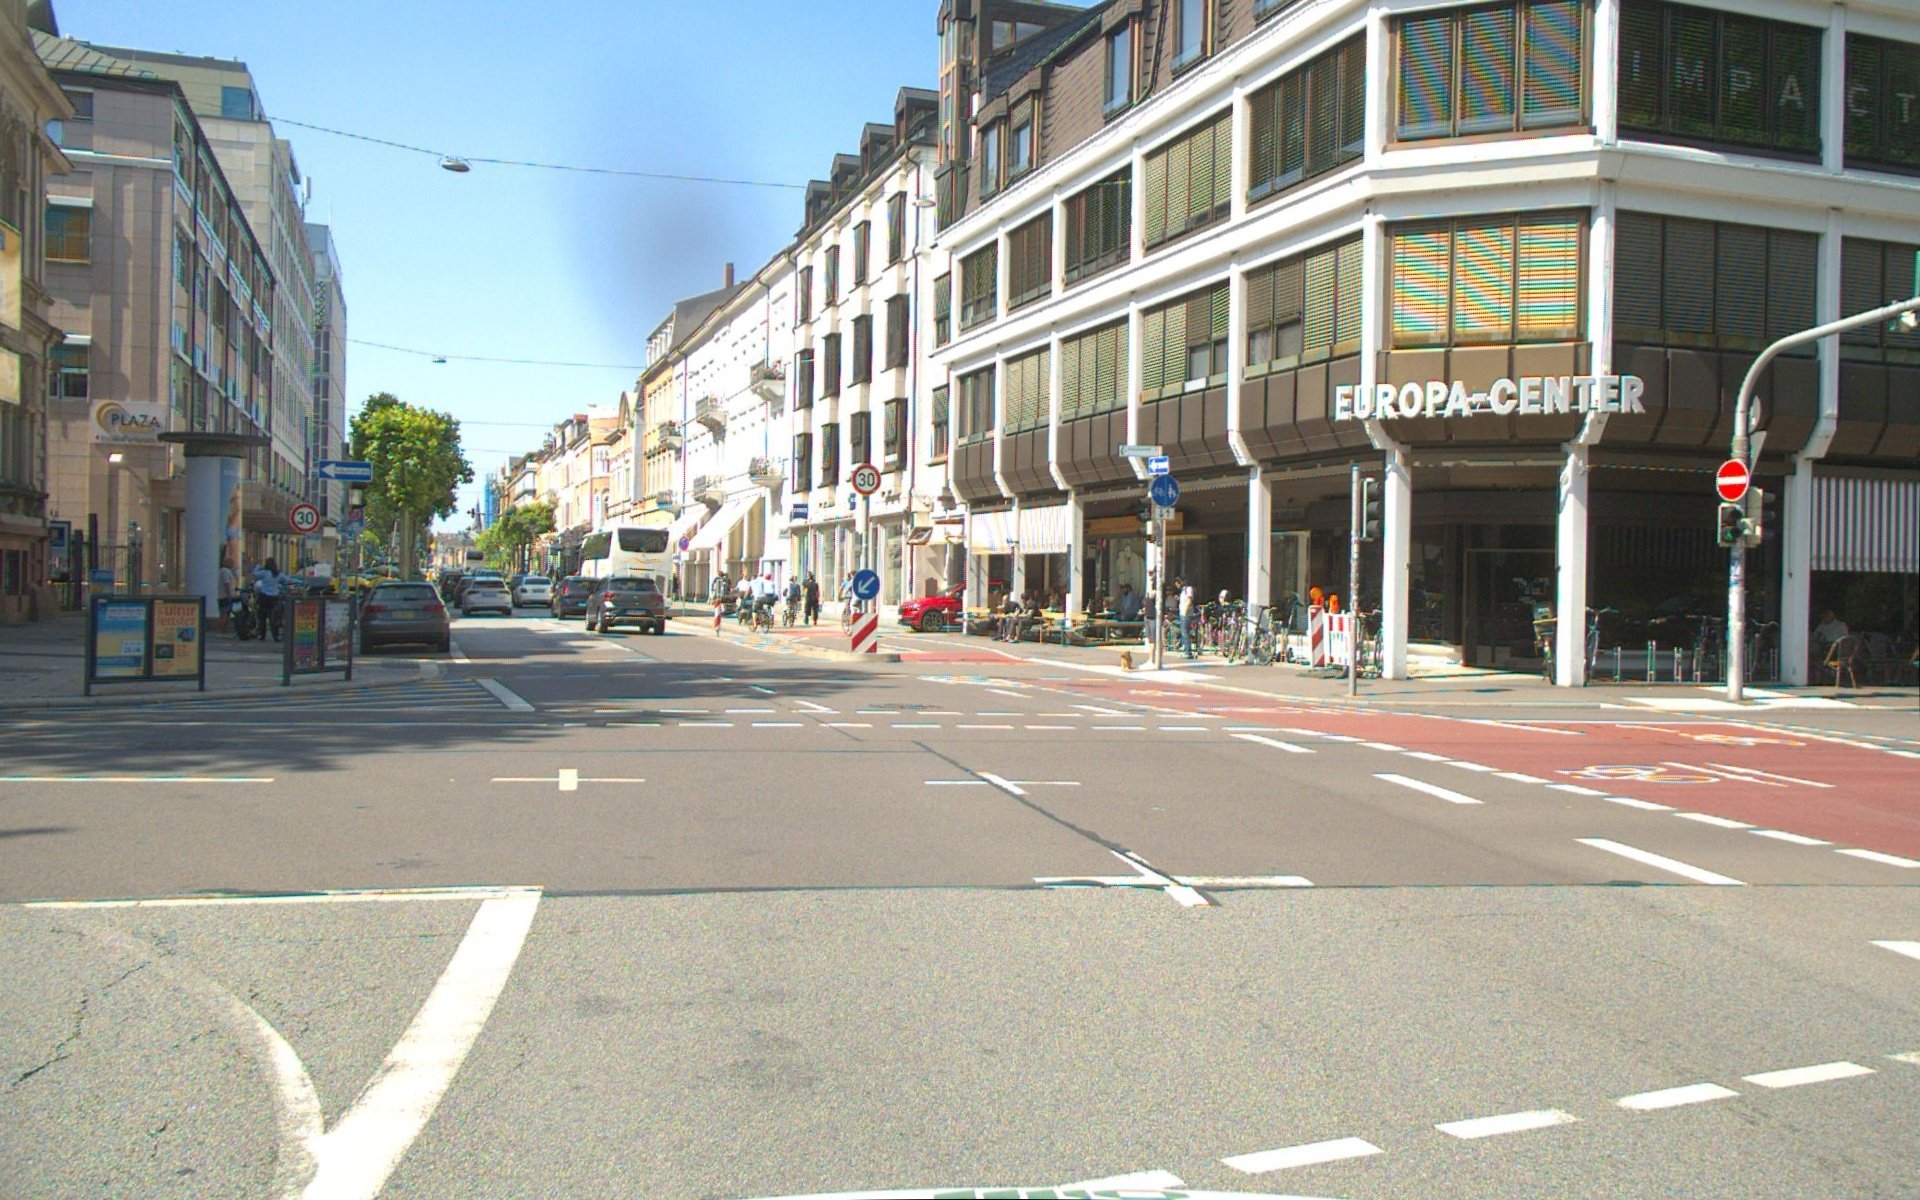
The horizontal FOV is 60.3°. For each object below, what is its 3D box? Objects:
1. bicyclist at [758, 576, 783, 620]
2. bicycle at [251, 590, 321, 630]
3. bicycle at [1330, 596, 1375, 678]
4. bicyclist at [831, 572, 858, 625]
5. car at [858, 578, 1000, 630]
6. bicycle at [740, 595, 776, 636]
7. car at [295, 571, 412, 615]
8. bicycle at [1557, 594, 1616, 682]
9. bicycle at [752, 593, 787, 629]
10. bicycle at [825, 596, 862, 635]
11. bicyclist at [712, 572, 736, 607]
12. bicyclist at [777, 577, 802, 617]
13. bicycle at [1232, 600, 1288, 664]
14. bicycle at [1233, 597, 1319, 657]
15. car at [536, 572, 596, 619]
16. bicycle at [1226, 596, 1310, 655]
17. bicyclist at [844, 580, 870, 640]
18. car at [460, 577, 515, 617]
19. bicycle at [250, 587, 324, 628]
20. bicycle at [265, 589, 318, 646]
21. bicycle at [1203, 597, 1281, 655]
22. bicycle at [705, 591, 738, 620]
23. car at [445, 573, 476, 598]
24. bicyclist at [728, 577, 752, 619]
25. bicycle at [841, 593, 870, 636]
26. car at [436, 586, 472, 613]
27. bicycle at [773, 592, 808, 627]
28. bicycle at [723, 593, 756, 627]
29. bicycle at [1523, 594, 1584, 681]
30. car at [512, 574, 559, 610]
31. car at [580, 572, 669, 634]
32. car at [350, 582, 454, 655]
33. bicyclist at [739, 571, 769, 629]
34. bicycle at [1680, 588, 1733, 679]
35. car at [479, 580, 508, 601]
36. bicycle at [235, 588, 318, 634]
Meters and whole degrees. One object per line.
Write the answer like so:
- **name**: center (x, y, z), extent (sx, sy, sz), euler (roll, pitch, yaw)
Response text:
- **bicyclist**: center (-6.137, -0.066, 53.487), extent (0.611, 1.378, 0.842), euler (1, 0, -20)
- **bicycle**: center (-19.000, 0.275, 46.659), extent (1.818, 1.092, 0.553), euler (-1, -2, -22)
- **bicycle**: center (6.985, 0.639, 29.392), extent (0.369, 1.081, 1.473), euler (0, 14, 27)
- **bicyclist**: center (-3.460, -0.041, 49.451), extent (0.610, 1.556, 0.865), euler (1, 0, -17)
- **car**: center (-0.967, 0.130, 50.195), extent (3.980, 1.521, 1.833), euler (0, -2, -17)
- **bicycle**: center (-6.186, 0.476, 50.532), extent (0.654, 1.140, 2.232), euler (3, 1, -18)
- **car**: center (-23.278, -0.271, 63.490), extent (3.963, 1.520, 1.935), euler (2, 1, 23)
- **bicycle**: center (10.224, 0.593, 26.947), extent (0.520, 1.339, 1.854), euler (1, 2, 32)
- **bicycle**: center (-6.186, 0.350, 53.603), extent (0.611, 1.118, 2.339), euler (1, 0, -20)
- **bicycle**: center (-3.499, 0.452, 49.544), extent (0.610, 1.118, 2.342), euler (1, 0, -16)
- **bicyclist**: center (-9.427, -0.417, 66.051), extent (0.775, 1.403, 0.718), euler (1, 0, -20)
- **bicyclist**: center (-5.702, -0.115, 55.224), extent (0.611, 1.319, 0.862), euler (1, 0, -20)
- **bicycle**: center (5.722, 0.590, 31.660), extent (0.272, 1.140, 2.238), euler (1, 1, -10)
- **bicycle**: center (6.230, 0.529, 32.612), extent (1.686, 1.140, 0.277), euler (-1, 1, -12)
- **car**: center (-13.905, -0.139, 58.308), extent (1.804, 1.554, 3.981), euler (-1, 0, -17)
- **bicycle**: center (6.147, 0.511, 32.998), extent (1.686, 1.140, 0.277), euler (-1, 1, -12)
- **bicyclist**: center (-2.887, 0.278, 46.203), extent (0.681, 1.654, 0.834), euler (0, 0, -7)
- **car**: center (-18.397, -0.133, 64.303), extent (1.835, 1.466, 3.978), euler (2, 0, -19)
- **bicycle**: center (-19.487, 0.219, 47.911), extent (1.940, 1.140, 0.505), euler (2, -1, -23)
- **bicycle**: center (-13.904, 0.374, 34.433), extent (0.421, 1.140, 2.239), euler (2, -1, -7)
- **bicycle**: center (5.695, 0.518, 33.398), extent (1.543, 1.140, 0.277), euler (-1, 1, -12)
- **bicycle**: center (-9.577, 0.223, 66.391), extent (0.825, 1.118, 2.339), euler (1, 0, -20)
- **car**: center (-30.713, -0.900, 101.660), extent (1.716, 1.466, 3.979), euler (0, 1, -19)
- **bicyclist**: center (-7.504, -0.076, 56.412), extent (0.611, 1.394, 0.776), euler (1, 0, -20)
- **bicycle**: center (-2.928, 0.394, 46.270), extent (0.583, 1.140, 1.796), euler (1, 1, -10)
- **car**: center (-28.601, 0.003, 93.423), extent (1.835, 1.466, 3.978), euler (1, -1, -19)
- **bicycle**: center (-5.654, 0.316, 55.071), extent (0.611, 1.118, 2.339), euler (1, 0, -20)
- **bicycle**: center (-7.543, 0.331, 56.491), extent (0.611, 1.118, 2.339), euler (1, 0, -20)
- **bicycle**: center (9.762, 0.597, 27.180), extent (0.520, 1.339, 1.962), euler (1, 2, 32)
- **car**: center (-19.655, -0.357, 76.486), extent (1.805, 1.554, 3.978), euler (-1, 0, -19)
- **car**: center (-9.223, 0.077, 45.234), extent (1.806, 1.554, 3.977), euler (2, -1, -20)
- **car**: center (-11.501, 0.330, 34.319), extent (1.906, 1.378, 4.230), euler (0, 1, -17)
- **bicyclist**: center (-6.296, -0.017, 50.489), extent (0.683, 1.702, 0.911), euler (3, 1, -17)
- **bicycle**: center (12.690, 0.545, 28.093), extent (0.520, 1.447, 1.962), euler (1, 2, 32)
- **car**: center (-34.456, -0.724, 122.068), extent (1.835, 1.466, 3.979), euler (0, 1, -19)
- **bicycle**: center (-18.146, 0.305, 43.920), extent (1.939, 1.140, 0.551), euler (3, -2, -30)
